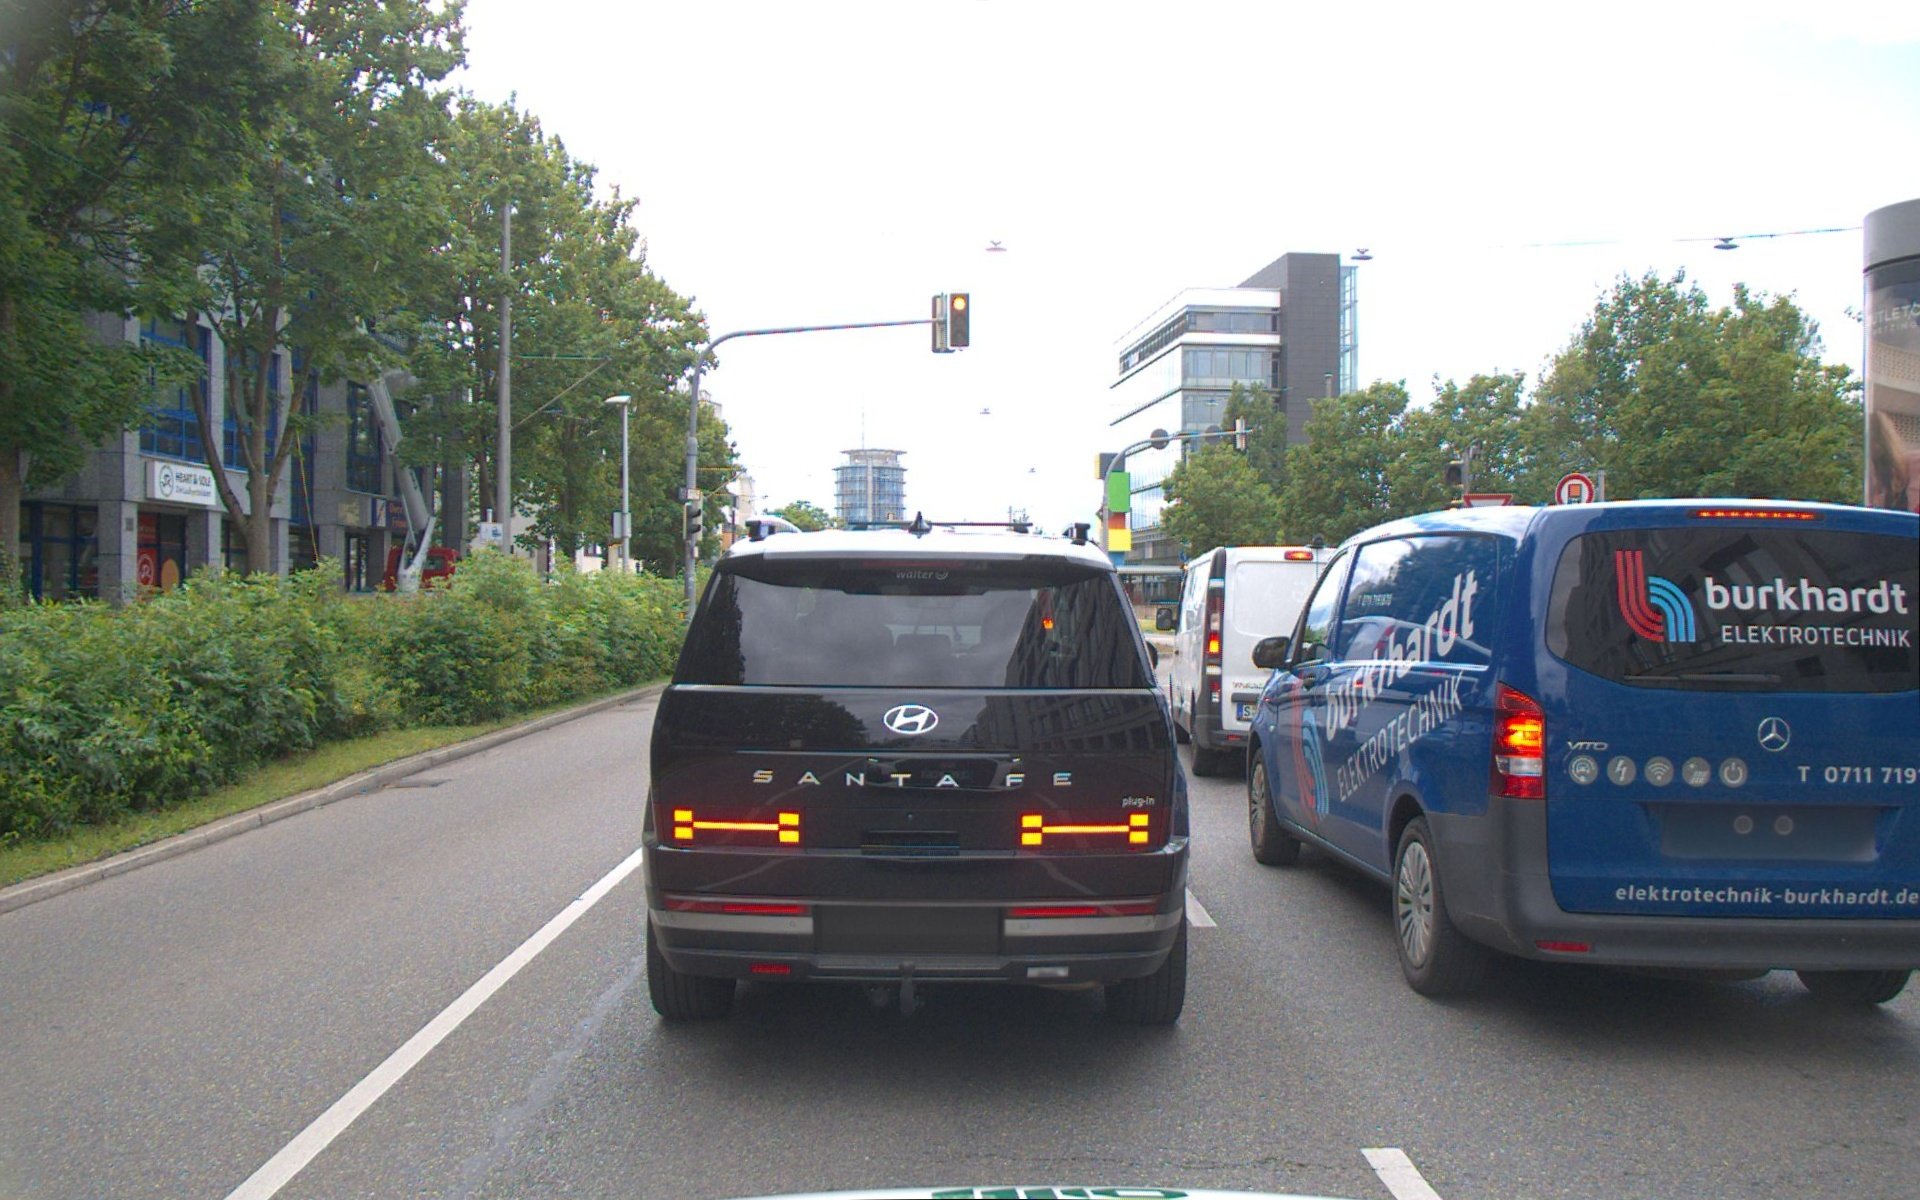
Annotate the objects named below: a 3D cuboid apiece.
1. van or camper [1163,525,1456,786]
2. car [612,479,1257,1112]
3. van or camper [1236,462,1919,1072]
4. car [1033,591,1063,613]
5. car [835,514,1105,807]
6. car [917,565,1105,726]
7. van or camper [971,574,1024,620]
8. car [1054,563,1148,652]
[{"bbox_3d":[3.060,0.427,15.474,1.952,2.049,4.654,1,0,3],"label":"van or camper"},{"bbox_3d":[-0.094,0.545,6.642,1.831,1.791,3.879,0,0,-1],"label":"car"},{"bbox_3d":[2.667,0.522,7.811,1.822,1.944,5.031,0,0,-1],"label":"van or camper"},{"bbox_3d":[7.018,0.183,131.915,1.954,1.713,3.997,1,0,-3],"label":"car"},{"bbox_3d":[0.043,0.412,13.454,1.876,2.038,3.879,0,0,-1],"label":"car"},{"bbox_3d":[0.745,0.512,20.423,1.738,1.747,4.342,1,0,9],"label":"car"},{"bbox_3d":[2.276,-0.148,98.218,1.951,2.591,6.583,0,0,12],"label":"van or camper"},{"bbox_3d":[3.395,0.182,40.389,1.952,2.049,4.000,1,0,0],"label":"car"}]
